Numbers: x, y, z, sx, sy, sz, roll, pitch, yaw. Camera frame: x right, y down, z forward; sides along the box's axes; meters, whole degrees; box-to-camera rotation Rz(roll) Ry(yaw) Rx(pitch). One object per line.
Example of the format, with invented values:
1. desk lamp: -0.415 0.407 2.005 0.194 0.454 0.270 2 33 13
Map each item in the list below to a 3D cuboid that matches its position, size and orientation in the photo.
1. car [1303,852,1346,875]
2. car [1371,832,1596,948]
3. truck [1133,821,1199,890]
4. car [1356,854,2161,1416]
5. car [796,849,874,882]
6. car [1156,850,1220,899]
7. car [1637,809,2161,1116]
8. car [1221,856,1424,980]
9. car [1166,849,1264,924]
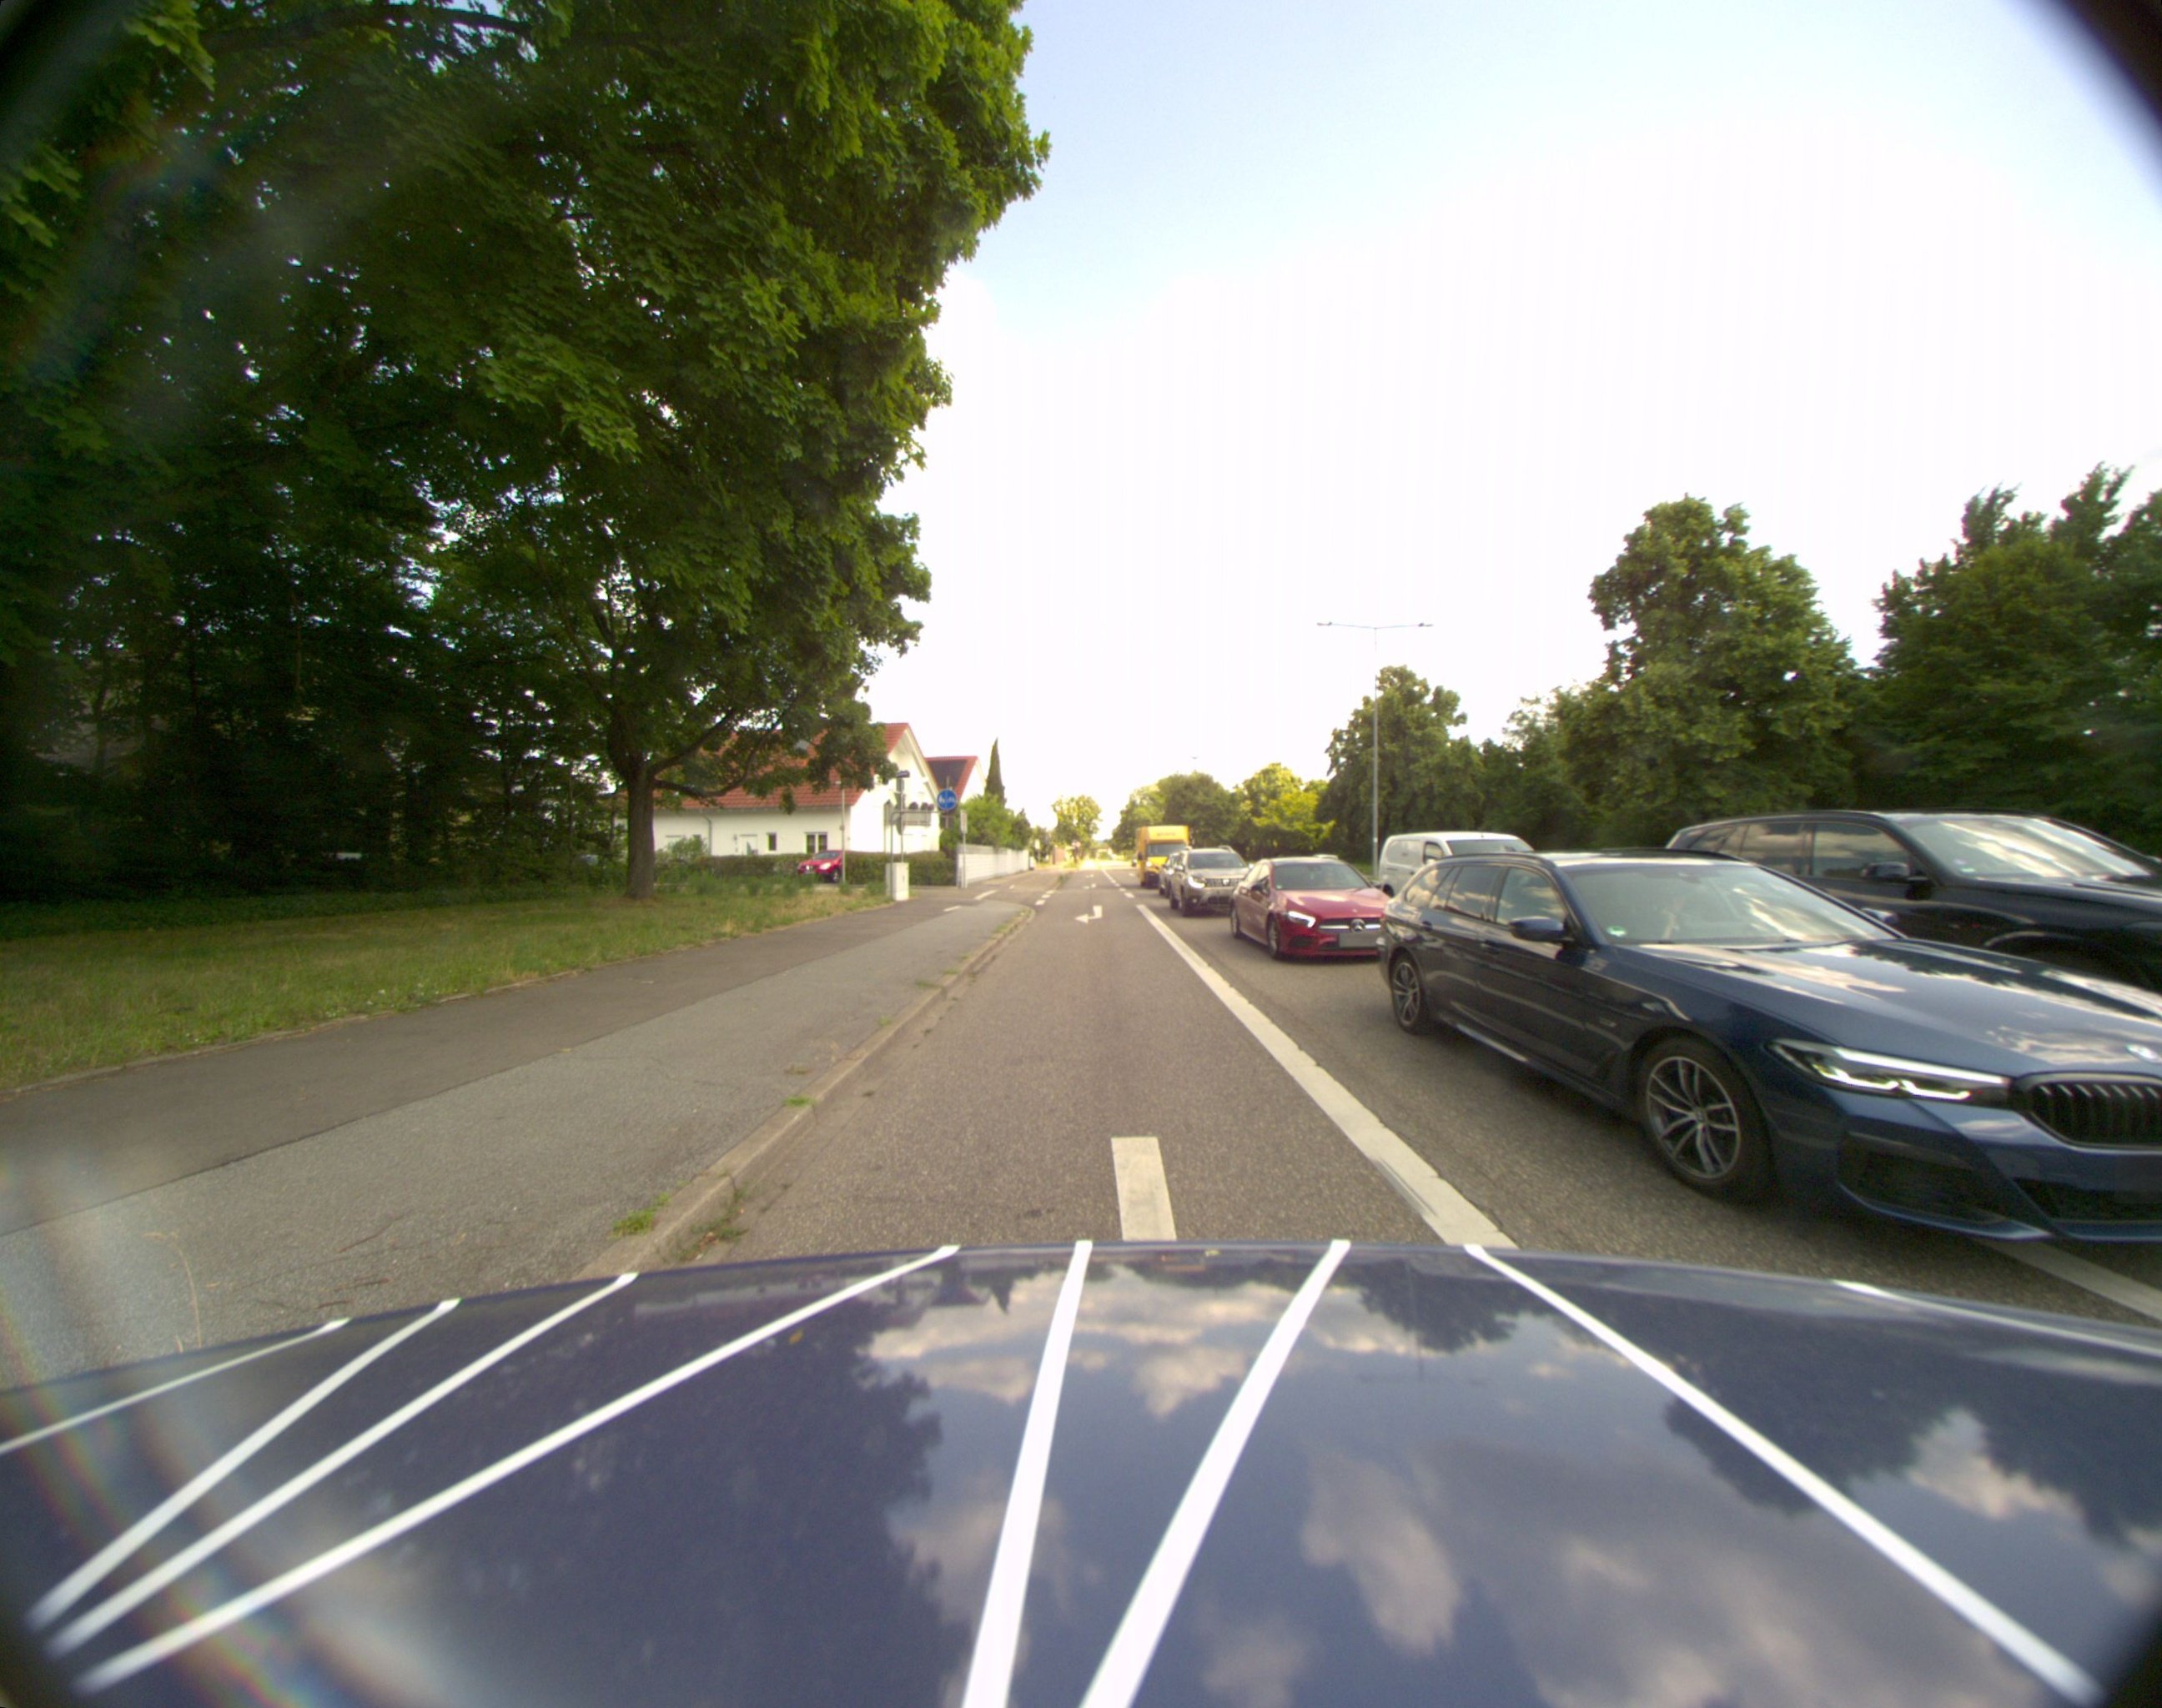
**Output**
1. car: 16.646 0.630 52.114 1.672 1.379 3.999 -2 1 1
2. car: 7.225 0.546 14.306 1.770 1.788 4.730 -1 1 1
3. truck: 3.899 0.061 36.100 2.363 2.843 6.966 -2 0 1
4. car: 3.434 0.807 4.592 1.801 1.488 4.872 -2 1 1
5. car: -11.812 0.536 36.828 1.679 1.521 4.397 0 0 11
6. car: 3.698 0.677 26.901 1.727 1.522 3.893 -2 1 1
7. car: 7.030 0.575 6.121 1.817 1.736 4.549 -1 1 1
8. car: 3.451 0.811 11.809 1.727 1.454 4.535 -2 0 1
9. car: 3.210 0.717 18.962 1.727 1.602 4.175 -2 1 1
